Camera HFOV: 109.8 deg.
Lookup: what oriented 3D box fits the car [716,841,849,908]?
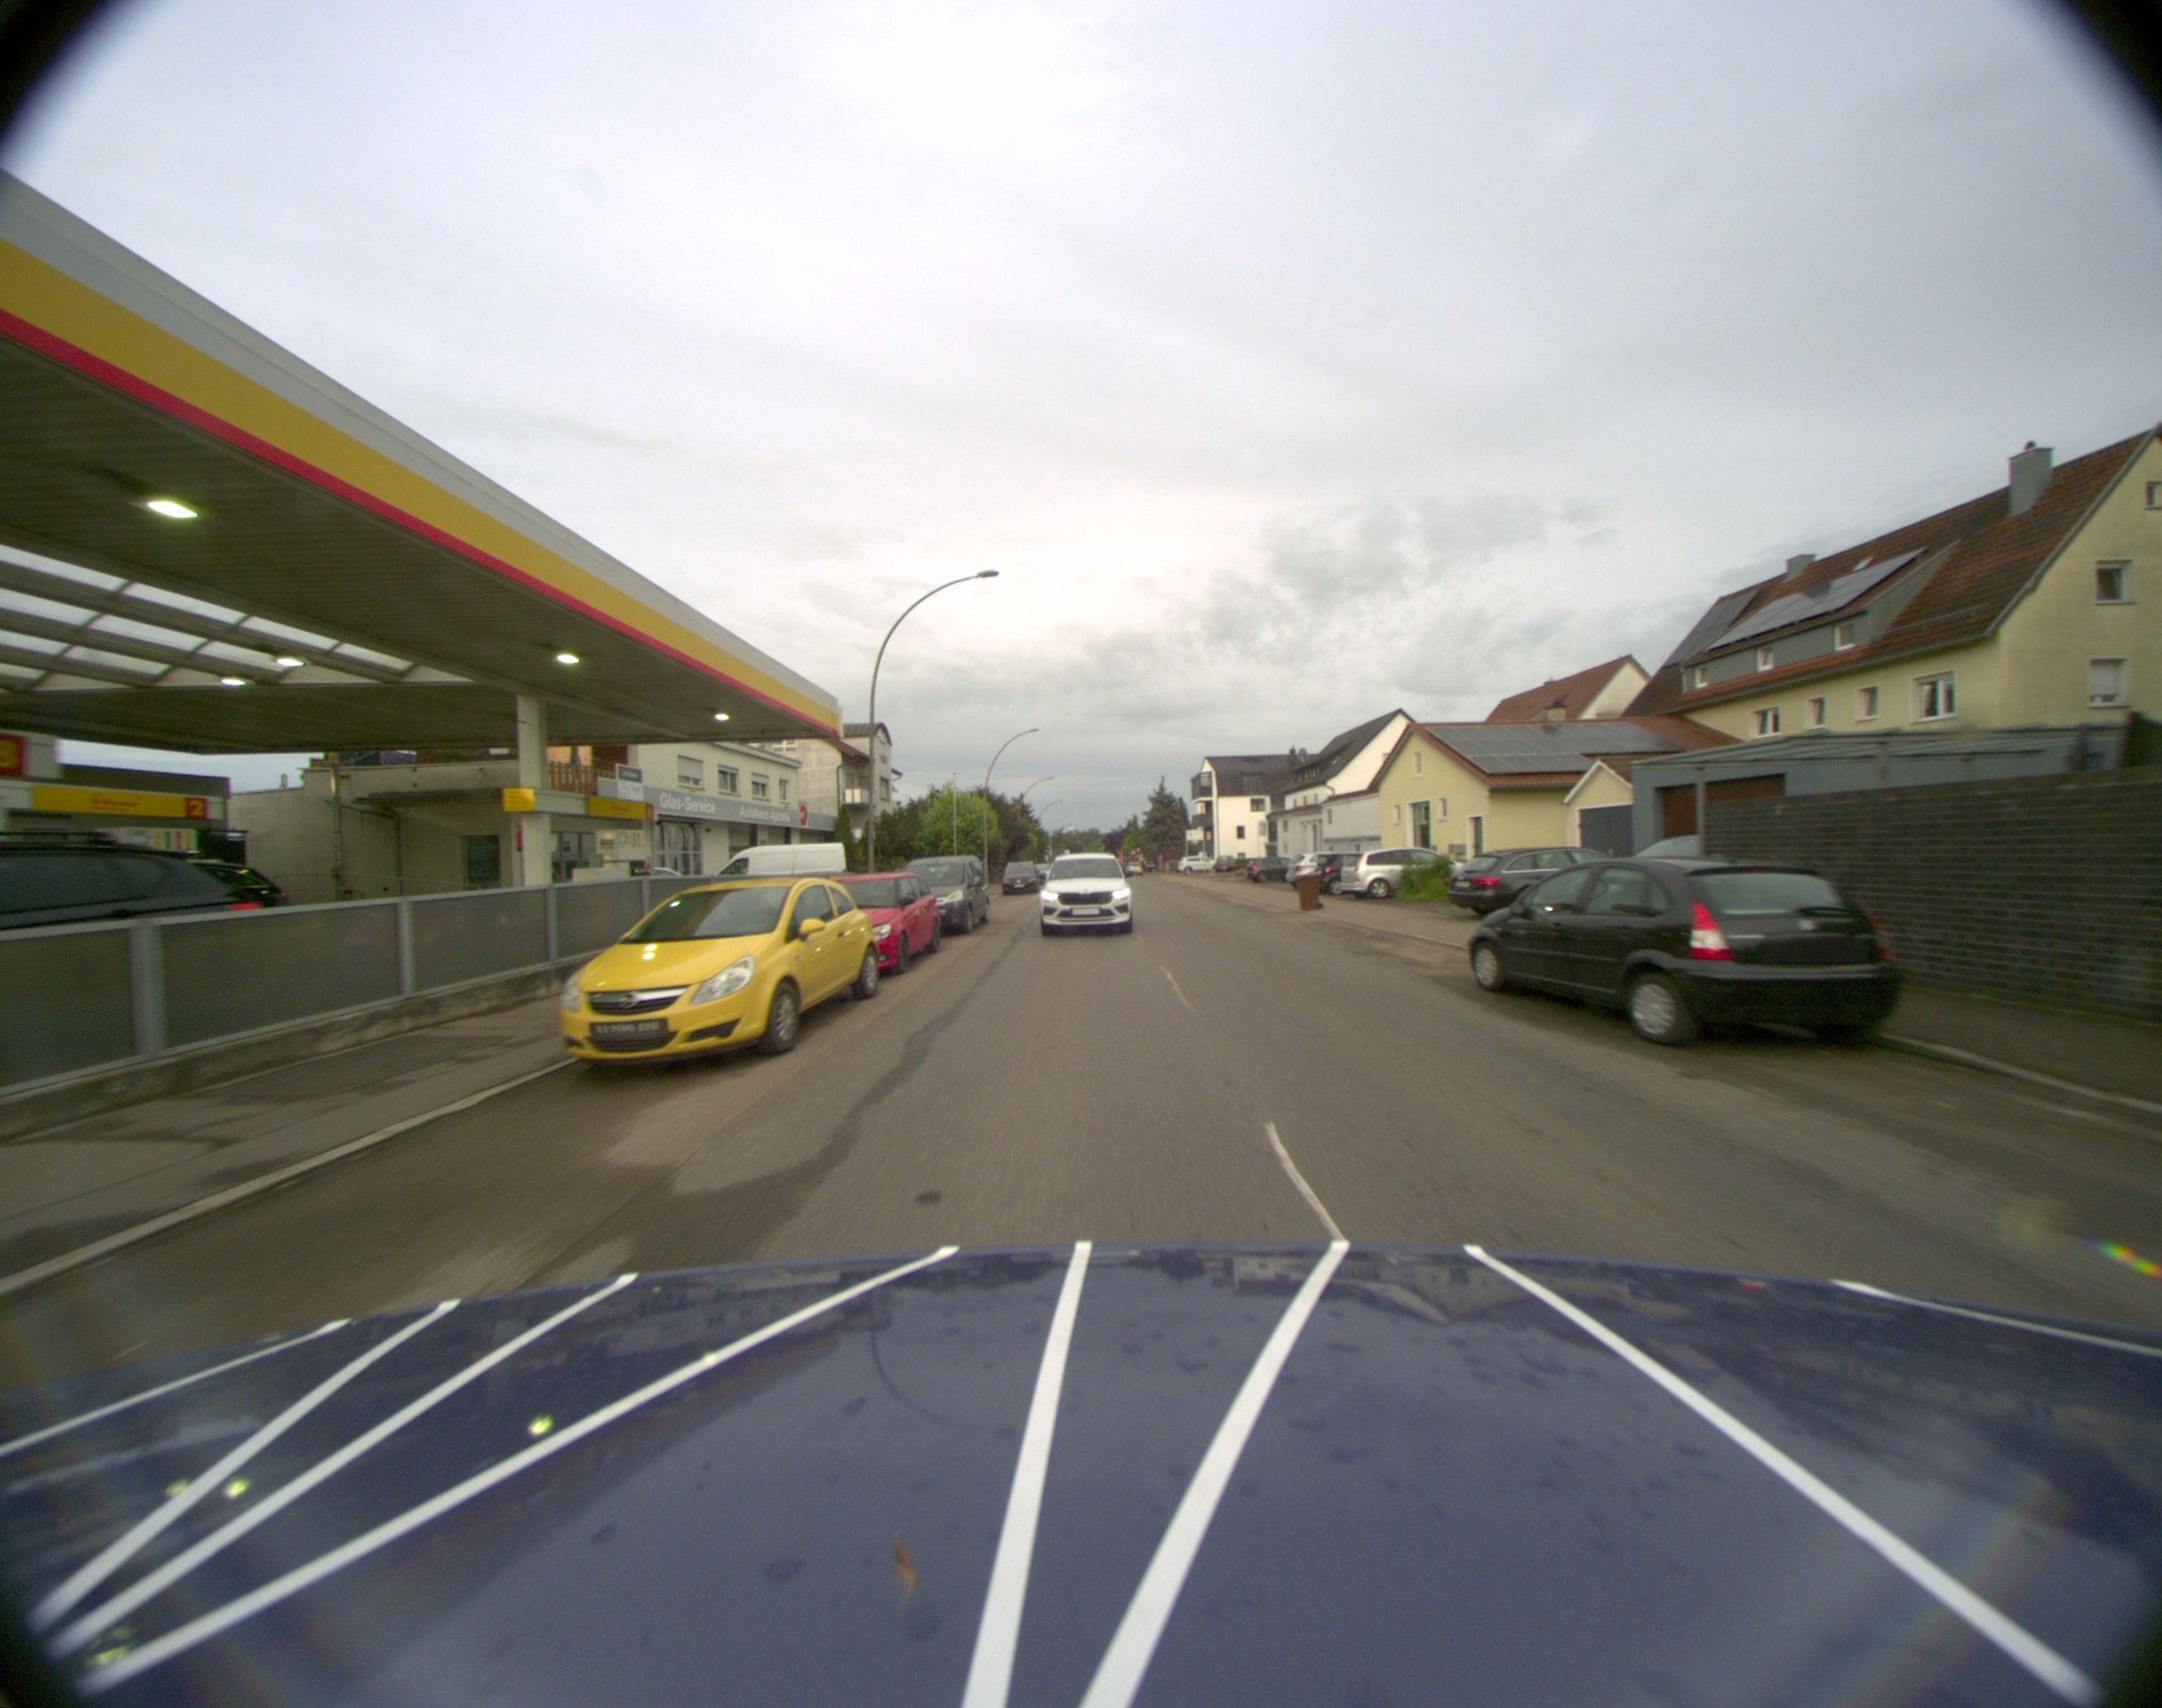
[{"bbox_3d":[-12.024,0.771,30.821,4.809,2.505,2.244,-1,0,-21],"label":"car"}]

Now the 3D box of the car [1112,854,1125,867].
[{"bbox_3d":[7.048,1.260,142.419,2.264,2.275,4.531,1,-1,0],"label":"car"}]

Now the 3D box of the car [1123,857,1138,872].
[{"bbox_3d":[7.168,1.512,110.956,1.998,2.112,4.755,-1,-1,2],"label":"car"}]

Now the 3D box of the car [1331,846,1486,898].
[{"bbox_3d":[10.381,0.548,24.277,4.095,1.505,1.883,-1,0,-3],"label":"car"}]

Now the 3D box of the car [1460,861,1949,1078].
[{"bbox_3d":[5.285,0.824,7.176,1.612,1.497,3.707,0,0,1],"label":"car"}]

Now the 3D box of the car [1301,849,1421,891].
[{"bbox_3d":[11.107,0.628,30.304,4.095,1.523,1.813,-1,0,-3],"label":"car"}]

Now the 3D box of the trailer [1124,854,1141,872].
[{"bbox_3d":[6.264,1.074,92.741,1.721,2.114,4.007,-2,0,1],"label":"trailer"}]

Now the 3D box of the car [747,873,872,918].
[{"bbox_3d":[-10.169,1.502,28.607,4.007,1.367,1.775,-2,1,-40],"label":"car"}]

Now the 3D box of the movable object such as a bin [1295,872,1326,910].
[{"bbox_3d":[6.714,1.081,22.266,0.597,1.050,0.687,-6,-2,1],"label":"movable object such as a bin"}]

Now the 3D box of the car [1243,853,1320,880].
[{"bbox_3d":[11.329,0.706,43.024,3.883,1.430,1.768,-1,0,0],"label":"car"}]

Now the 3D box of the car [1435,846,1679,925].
[{"bbox_3d":[9.946,0.635,16.084,4.095,1.405,1.714,-2,0,-2],"label":"car"}]

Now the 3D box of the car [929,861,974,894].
[{"bbox_3d":[-7.004,1.251,41.488,1.999,1.673,3.999,-1,0,-4],"label":"car"}]

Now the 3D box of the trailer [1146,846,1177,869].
[{"bbox_3d":[11.456,0.485,108.204,4.059,3.028,2.168,-2,0,1],"label":"trailer"}]

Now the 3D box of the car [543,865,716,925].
[{"bbox_3d":[-14.393,1.248,24.370,1.994,1.631,4.370,-1,0,44],"label":"car"}]

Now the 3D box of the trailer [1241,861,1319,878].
[{"bbox_3d":[11.976,0.919,45.811,4.208,0.937,1.794,-1,0,-2],"label":"trailer"}]

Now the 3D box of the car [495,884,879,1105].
[{"bbox_3d":[-3.316,1.083,7.321,1.660,1.393,3.801,-1,0,0],"label":"car"}]

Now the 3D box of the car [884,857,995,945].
[{"bbox_3d":[-3.188,0.990,17.996,1.660,1.728,4.444,-4,0,0],"label":"car"}]

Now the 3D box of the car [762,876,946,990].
[{"bbox_3d":[-3.352,1.099,12.042,1.660,1.368,4.025,-1,0,0],"label":"car"}]

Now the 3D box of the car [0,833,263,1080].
[{"bbox_3d":[-8.570,0.742,5.125,1.824,1.749,3.999,-1,0,-2],"label":"car"}]

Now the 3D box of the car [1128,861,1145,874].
[{"bbox_3d":[6.247,1.502,86.103,1.740,1.496,3.871,-1,-1,1],"label":"car"}]

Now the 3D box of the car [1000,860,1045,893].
[{"bbox_3d":[-2.967,1.132,39.151,1.999,1.586,4.000,-1,-1,-1],"label":"car"}]

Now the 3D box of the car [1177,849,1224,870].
[{"bbox_3d":[11.331,0.562,72.441,3.997,1.637,2.000,-5,0,-1],"label":"car"}]

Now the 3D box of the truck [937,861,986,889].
[{"bbox_3d":[-7.119,1.240,45.231,2.560,1.521,1.327,-2,0,8],"label":"truck"}]

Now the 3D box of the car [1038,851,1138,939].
[{"bbox_3d":[0.168,0.806,16.921,1.884,1.650,4.831,-1,-1,1],"label":"car"}]

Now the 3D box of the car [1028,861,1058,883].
[{"bbox_3d":[-2.727,1.302,55.602,1.741,1.493,3.882,-3,-1,2],"label":"car"}]

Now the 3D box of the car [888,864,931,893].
[{"bbox_3d":[-9.692,1.341,43.215,1.752,1.510,3.731,2,-1,-3],"label":"car"}]

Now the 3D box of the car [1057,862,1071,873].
[{"bbox_3d":[-2.292,1.876,104.585,1.677,1.455,3.690,-3,-1,1],"label":"car"}]

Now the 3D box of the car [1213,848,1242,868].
[{"bbox_3d":[12.951,0.355,67.509,1.824,1.521,4.001,-7,0,3],"label":"car"}]

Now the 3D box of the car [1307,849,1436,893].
[{"bbox_3d":[10.691,0.616,28.094,4.096,1.494,1.756,-1,0,-5],"label":"car"}]

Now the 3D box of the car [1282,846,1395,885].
[{"bbox_3d":[10.971,0.497,32.595,4.096,1.523,2.000,-1,-2,-5],"label":"car"}]

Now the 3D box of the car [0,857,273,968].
[{"bbox_3d":[-15.110,0.793,11.020,1.744,1.457,4.673,-1,0,0],"label":"car"}]

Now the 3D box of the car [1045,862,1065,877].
[{"bbox_3d":[-2.547,1.533,74.379,1.756,1.410,4.110,-1,-1,1],"label":"car"}]

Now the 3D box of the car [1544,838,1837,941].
[{"bbox_3d":[10.178,0.557,12.864,3.595,1.448,1.756,-3,0,-4],"label":"car"}]
